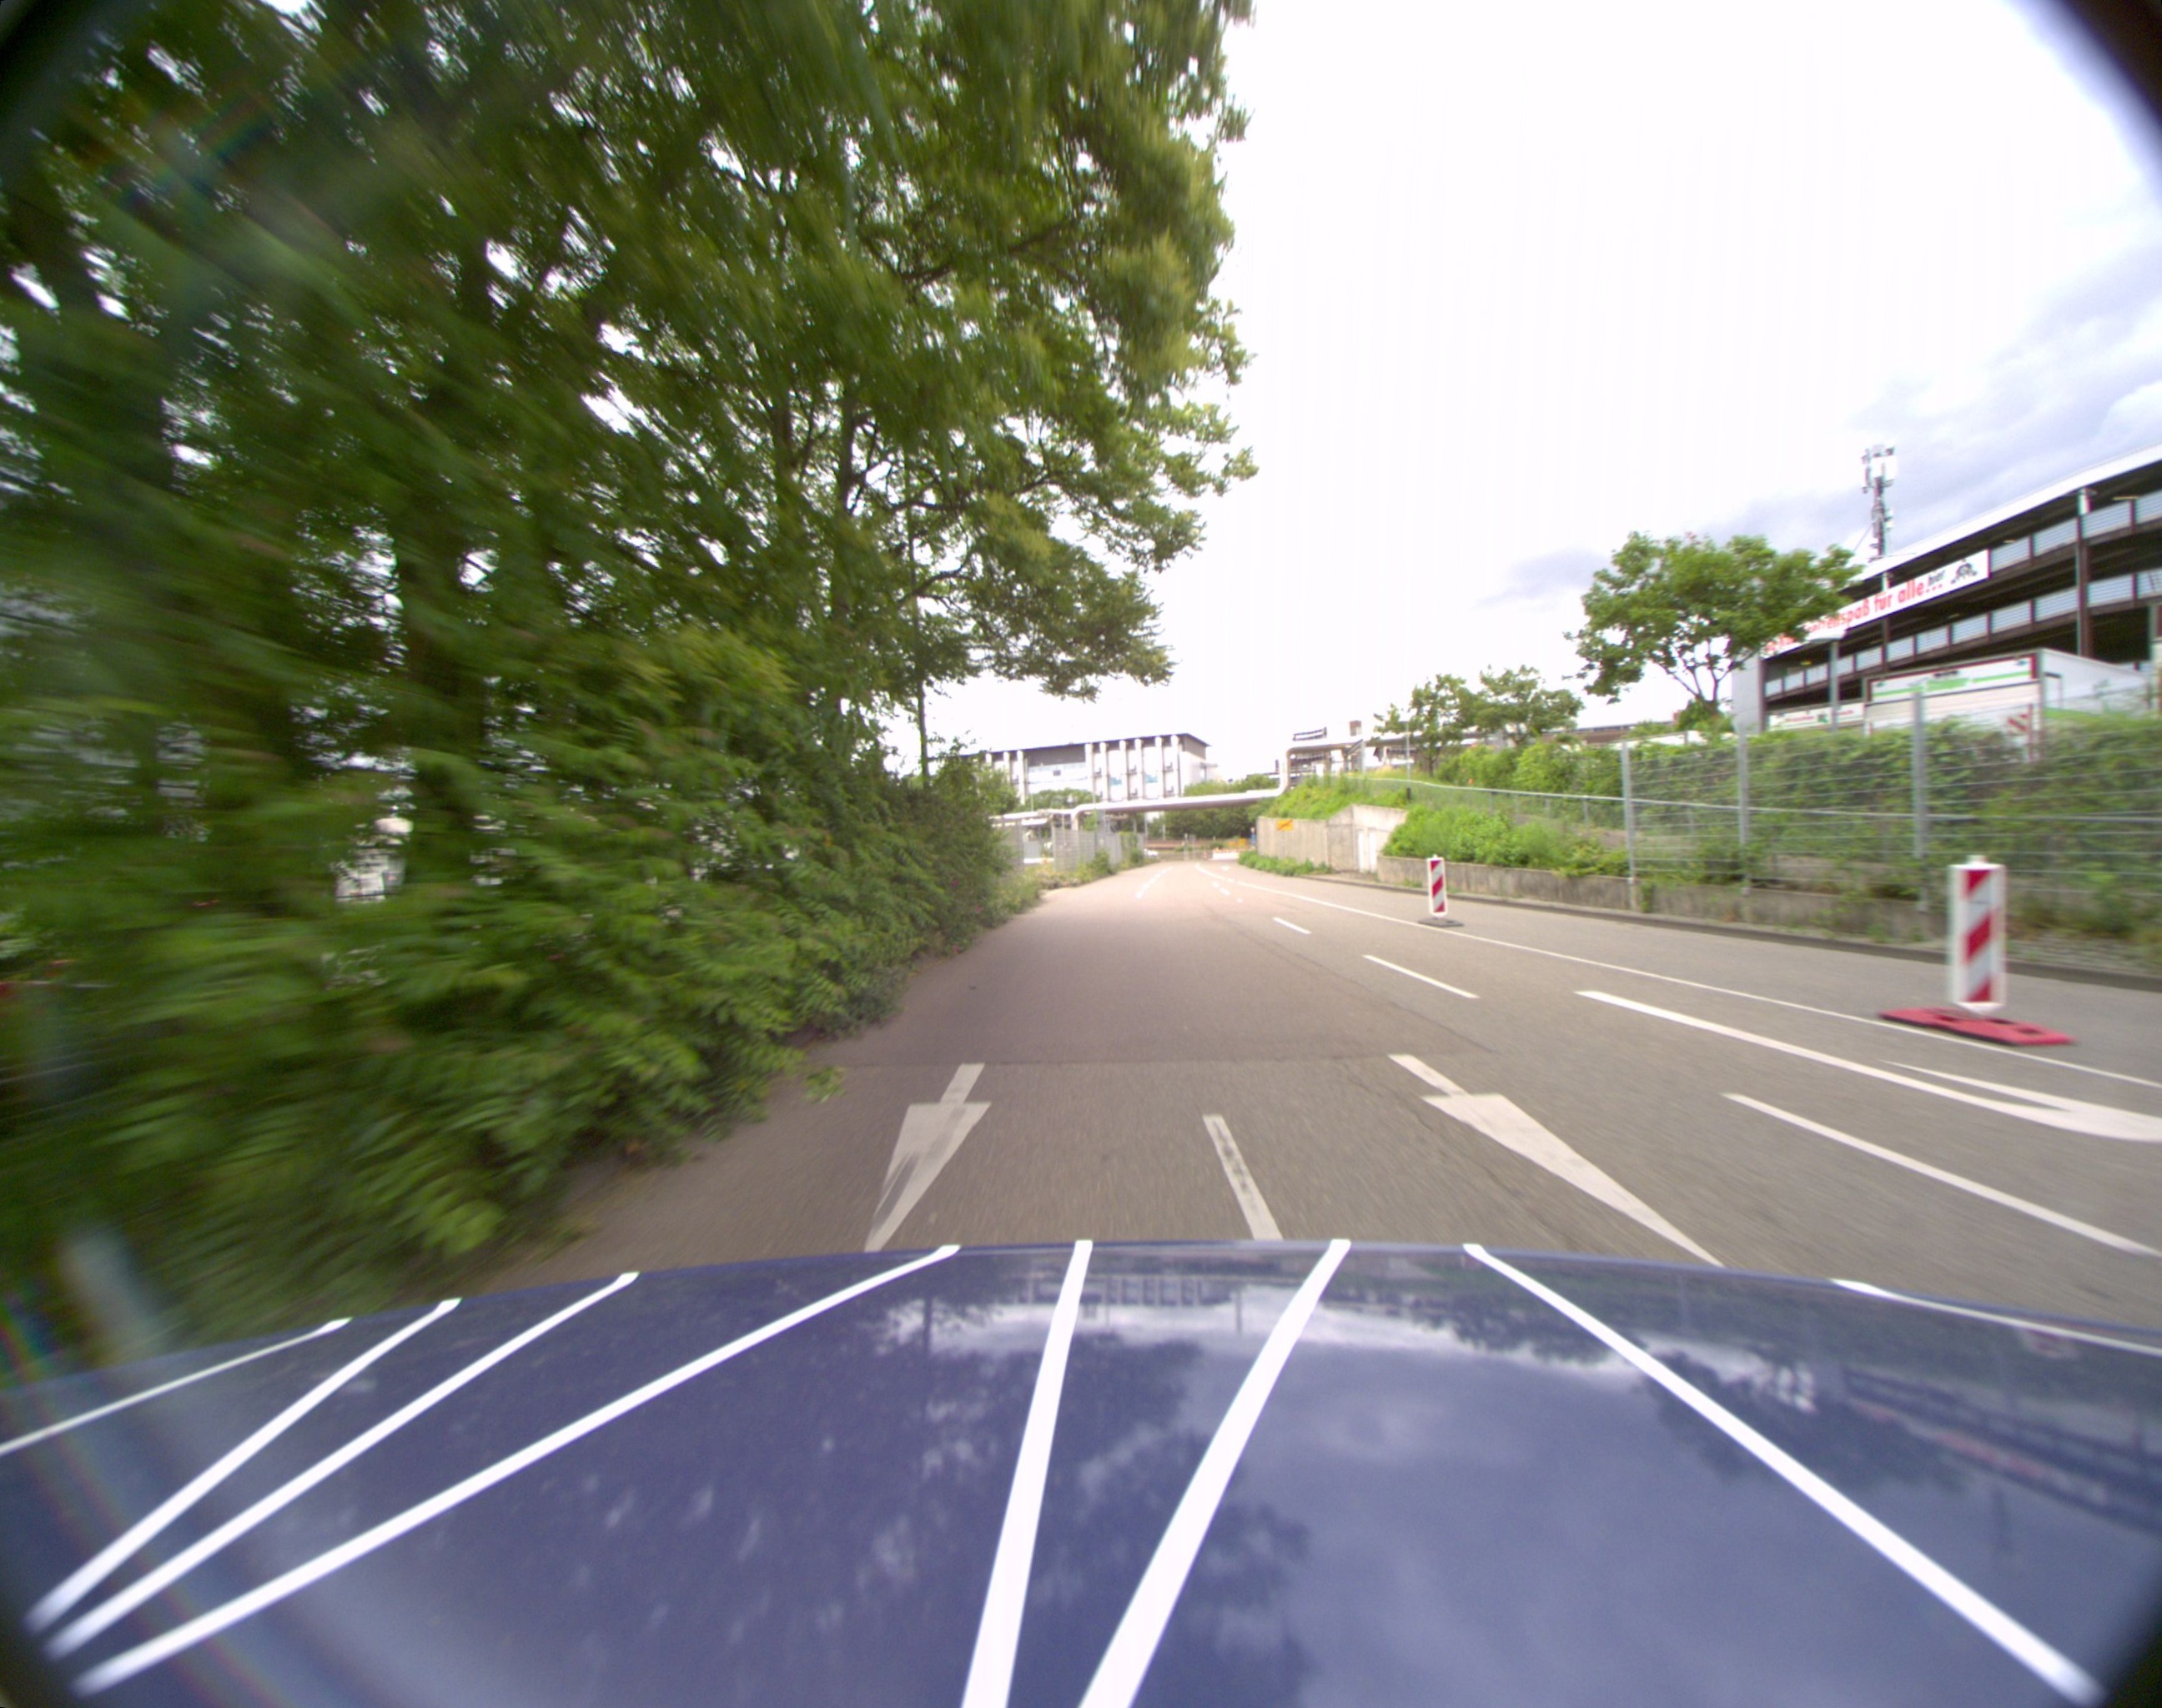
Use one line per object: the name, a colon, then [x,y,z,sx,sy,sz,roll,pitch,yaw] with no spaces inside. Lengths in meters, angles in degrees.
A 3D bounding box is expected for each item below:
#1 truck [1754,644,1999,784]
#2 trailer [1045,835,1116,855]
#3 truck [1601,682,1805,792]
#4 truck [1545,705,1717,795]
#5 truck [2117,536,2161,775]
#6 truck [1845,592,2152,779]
truck: [24.420,-4.062,23.270,7.876,3.519,3.045,-4,4,-27]
trailer: [-0.050,-1.399,120.817,10.958,2.680,2.223,-2,1,14]
truck: [23.433,-4.264,28.572,7.876,3.519,3.045,-4,4,-27]
truck: [24.842,-4.596,34.232,7.876,3.519,3.045,-4,4,-27]
truck: [20.320,-3.200,12.191,8.164,3.519,3.044,-4,4,-27]
truck: [22.210,-3.729,18.339,7.876,3.519,3.045,-4,4,-27]
